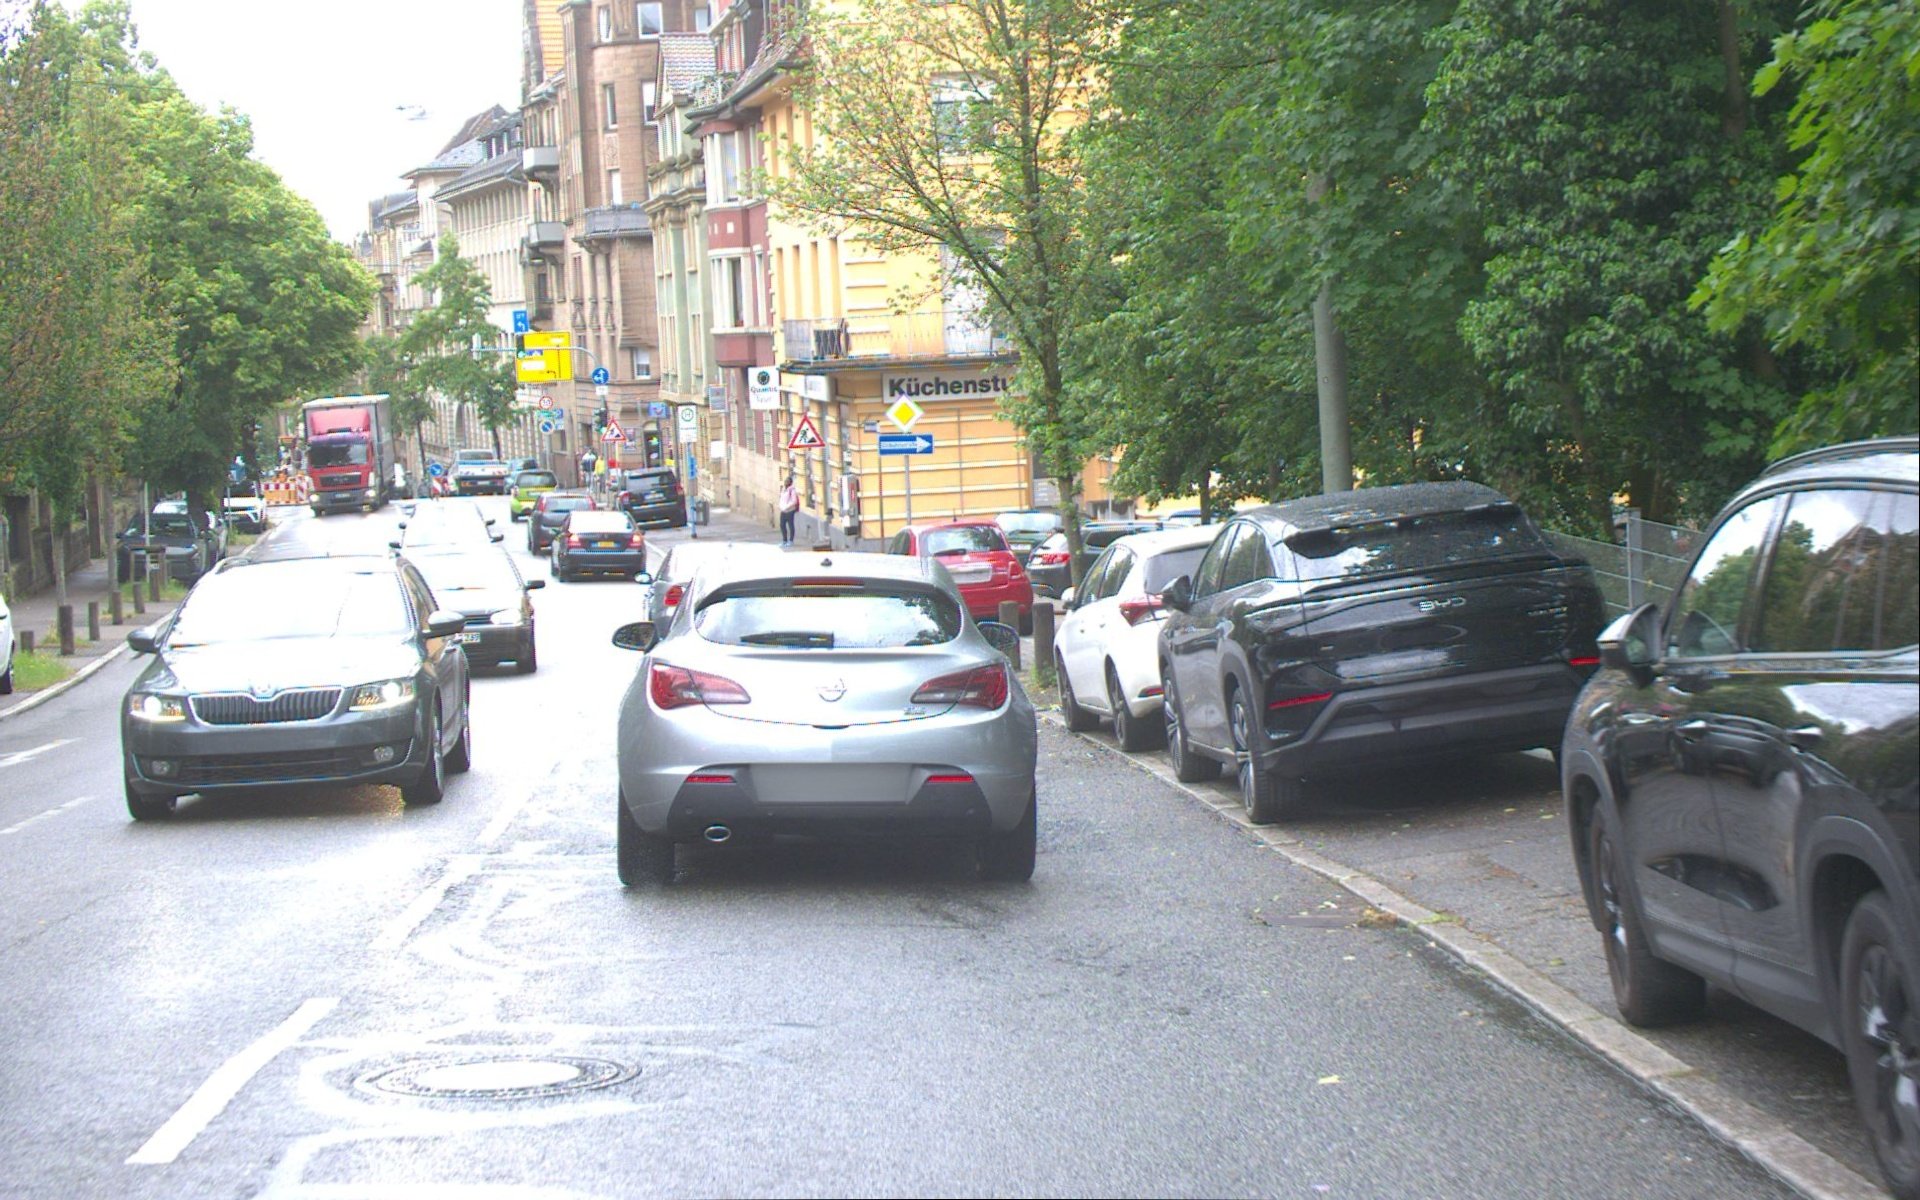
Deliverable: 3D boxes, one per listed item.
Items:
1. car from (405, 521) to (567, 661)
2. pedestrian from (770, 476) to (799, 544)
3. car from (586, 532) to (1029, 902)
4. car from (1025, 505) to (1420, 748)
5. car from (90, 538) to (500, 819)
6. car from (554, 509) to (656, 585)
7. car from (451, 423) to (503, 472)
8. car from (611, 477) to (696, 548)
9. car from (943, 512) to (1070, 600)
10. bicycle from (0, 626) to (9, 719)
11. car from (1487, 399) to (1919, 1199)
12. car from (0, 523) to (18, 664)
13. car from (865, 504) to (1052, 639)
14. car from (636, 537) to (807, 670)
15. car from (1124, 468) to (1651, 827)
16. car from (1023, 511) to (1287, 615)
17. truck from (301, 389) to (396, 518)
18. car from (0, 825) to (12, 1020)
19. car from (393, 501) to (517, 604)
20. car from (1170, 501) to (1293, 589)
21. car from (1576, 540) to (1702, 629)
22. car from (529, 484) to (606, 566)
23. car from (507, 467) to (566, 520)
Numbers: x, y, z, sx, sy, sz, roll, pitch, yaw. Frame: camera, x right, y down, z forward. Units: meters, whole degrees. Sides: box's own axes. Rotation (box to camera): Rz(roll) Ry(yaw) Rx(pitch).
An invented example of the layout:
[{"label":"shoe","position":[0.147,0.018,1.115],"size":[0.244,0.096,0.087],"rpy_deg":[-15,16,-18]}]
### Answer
[{"label":"car","position":[-5.308,-0.111,38.841],"size":[1.660,1.443,3.994],"rpy_deg":[-2,1,-6]},{"label":"pedestrian","position":[-3.971,-2.037,77.854],"size":[0.613,1.491,0.553],"rpy_deg":[-1,4,-5]},{"label":"car","position":[-0.686,0.448,16.282],"size":[1.814,1.425,4.001],"rpy_deg":[-1,2,-2]},{"label":"car","position":[1.757,0.165,24.486],"size":[1.975,1.447,4.115],"rpy_deg":[-4,1,-6]},{"label":"car","position":[-3.923,0.391,20.944],"size":[1.738,1.468,4.282],"rpy_deg":[-2,1,-2]},{"label":"car","position":[-6.802,-1.025,65.649],"size":[1.767,1.410,3.718],"rpy_deg":[0,1,-8]},{"label":"car","position":[-19.669,-6.199,139.880],"size":[1.781,1.848,4.001],"rpy_deg":[-1,0,-12]},{"label":"car","position":[-8.440,-2.391,94.420],"size":[1.993,1.683,4.001],"rpy_deg":[-7,2,-7]},{"label":"car","position":[0.859,-0.811,60.918],"size":[1.777,1.425,3.785],"rpy_deg":[0,3,8]},{"label":"bicycle","position":[-11.282,0.806,37.802],"size":[1.462,1.117,0.381],"rpy_deg":[-5,2,-11]},{"label":"car","position":[2.672,0.361,8.594],"size":[1.821,1.677,4.804],"rpy_deg":[-4,1,-1]},{"label":"car","position":[-12.051,0.008,39.550],"size":[1.787,1.645,4.197],"rpy_deg":[-5,2,-9]},{"label":"car","position":[-0.074,-0.361,43.742],"size":[1.814,1.462,4.001],"rpy_deg":[-6,1,-6]},{"label":"car","position":[-2.735,0.013,38.726],"size":[1.776,1.425,3.786],"rpy_deg":[0,1,-6]},{"label":"car","position":[2.182,0.213,18.890],"size":[1.975,1.603,4.485],"rpy_deg":[-4,1,-4]},{"label":"car","position":[3.034,-0.568,53.807],"size":[3.772,1.425,1.782],"rpy_deg":[2,0,-9]},{"label":"truck","position":[-21.631,-5.271,121.514],"size":[2.788,4.117,10.857],"rpy_deg":[-5,4,-10]},{"label":"car","position":[-3.750,0.565,8.228],"size":[1.845,1.578,4.280],"rpy_deg":[-4,1,-2]},{"label":"car","position":[-8.750,-0.848,59.802],"size":[1.822,1.645,4.001],"rpy_deg":[-3,2,-5]},{"label":"car","position":[4.959,-1.020,62.388],"size":[1.777,1.424,3.784],"rpy_deg":[0,3,12]},{"label":"car","position":[12.483,-0.309,63.101],"size":[1.778,1.424,3.783],"rpy_deg":[1,3,19]},{"label":"car","position":[-9.324,-1.799,81.507],"size":[1.639,1.683,3.719],"rpy_deg":[-1,5,-9]},{"label":"car","position":[-12.686,-3.176,102.904],"size":[1.639,1.531,3.718],"rpy_deg":[-2,1,-8]}]
